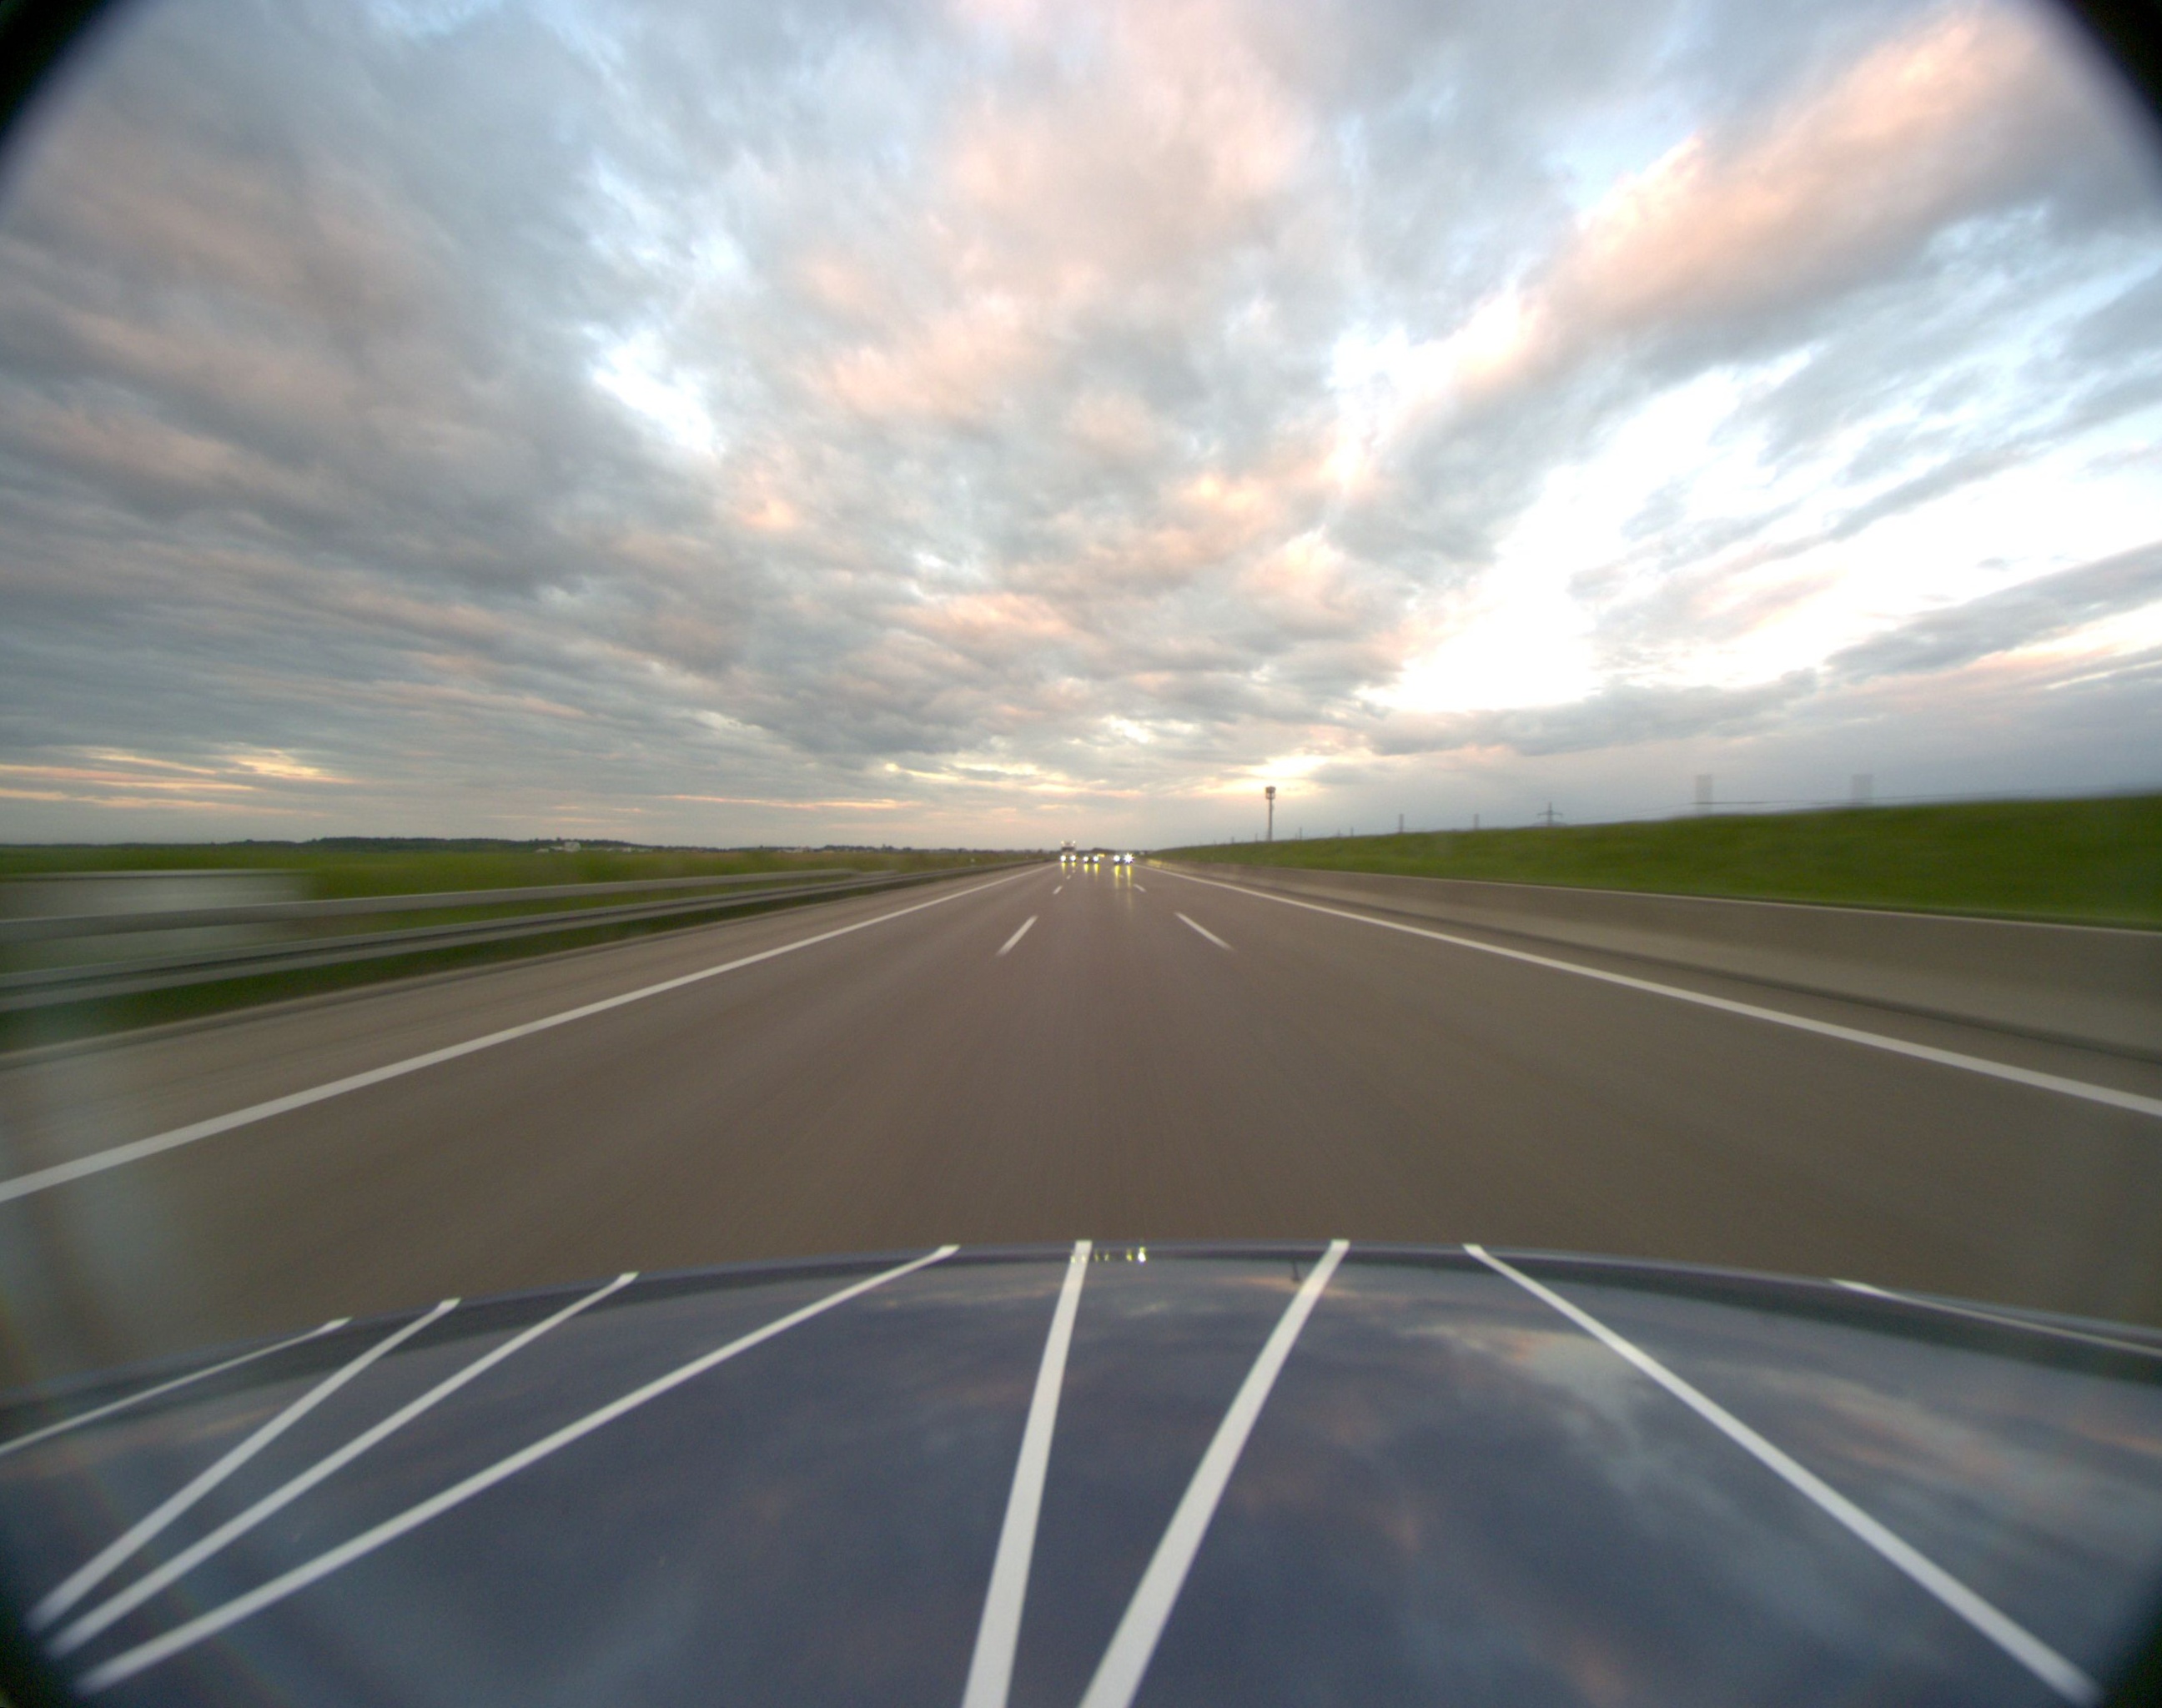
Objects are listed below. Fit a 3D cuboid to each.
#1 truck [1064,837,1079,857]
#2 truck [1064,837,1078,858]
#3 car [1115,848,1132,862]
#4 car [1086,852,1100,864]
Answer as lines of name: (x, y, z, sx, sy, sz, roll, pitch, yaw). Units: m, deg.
truck: (-1.818, -1.332, 156.997, 2.596, 3.999, 12.985, -1, 0, 1)
truck: (-1.902, -1.275, 150.496, 2.596, 3.999, 5.859, -1, 0, 1)
car: (5.529, 0.102, 99.498, 1.998, 1.652, 4.000, -2, 1, 1)
car: (1.840, 0.580, 114.042, 1.998, 1.652, 4.851, -2, 1, 1)
